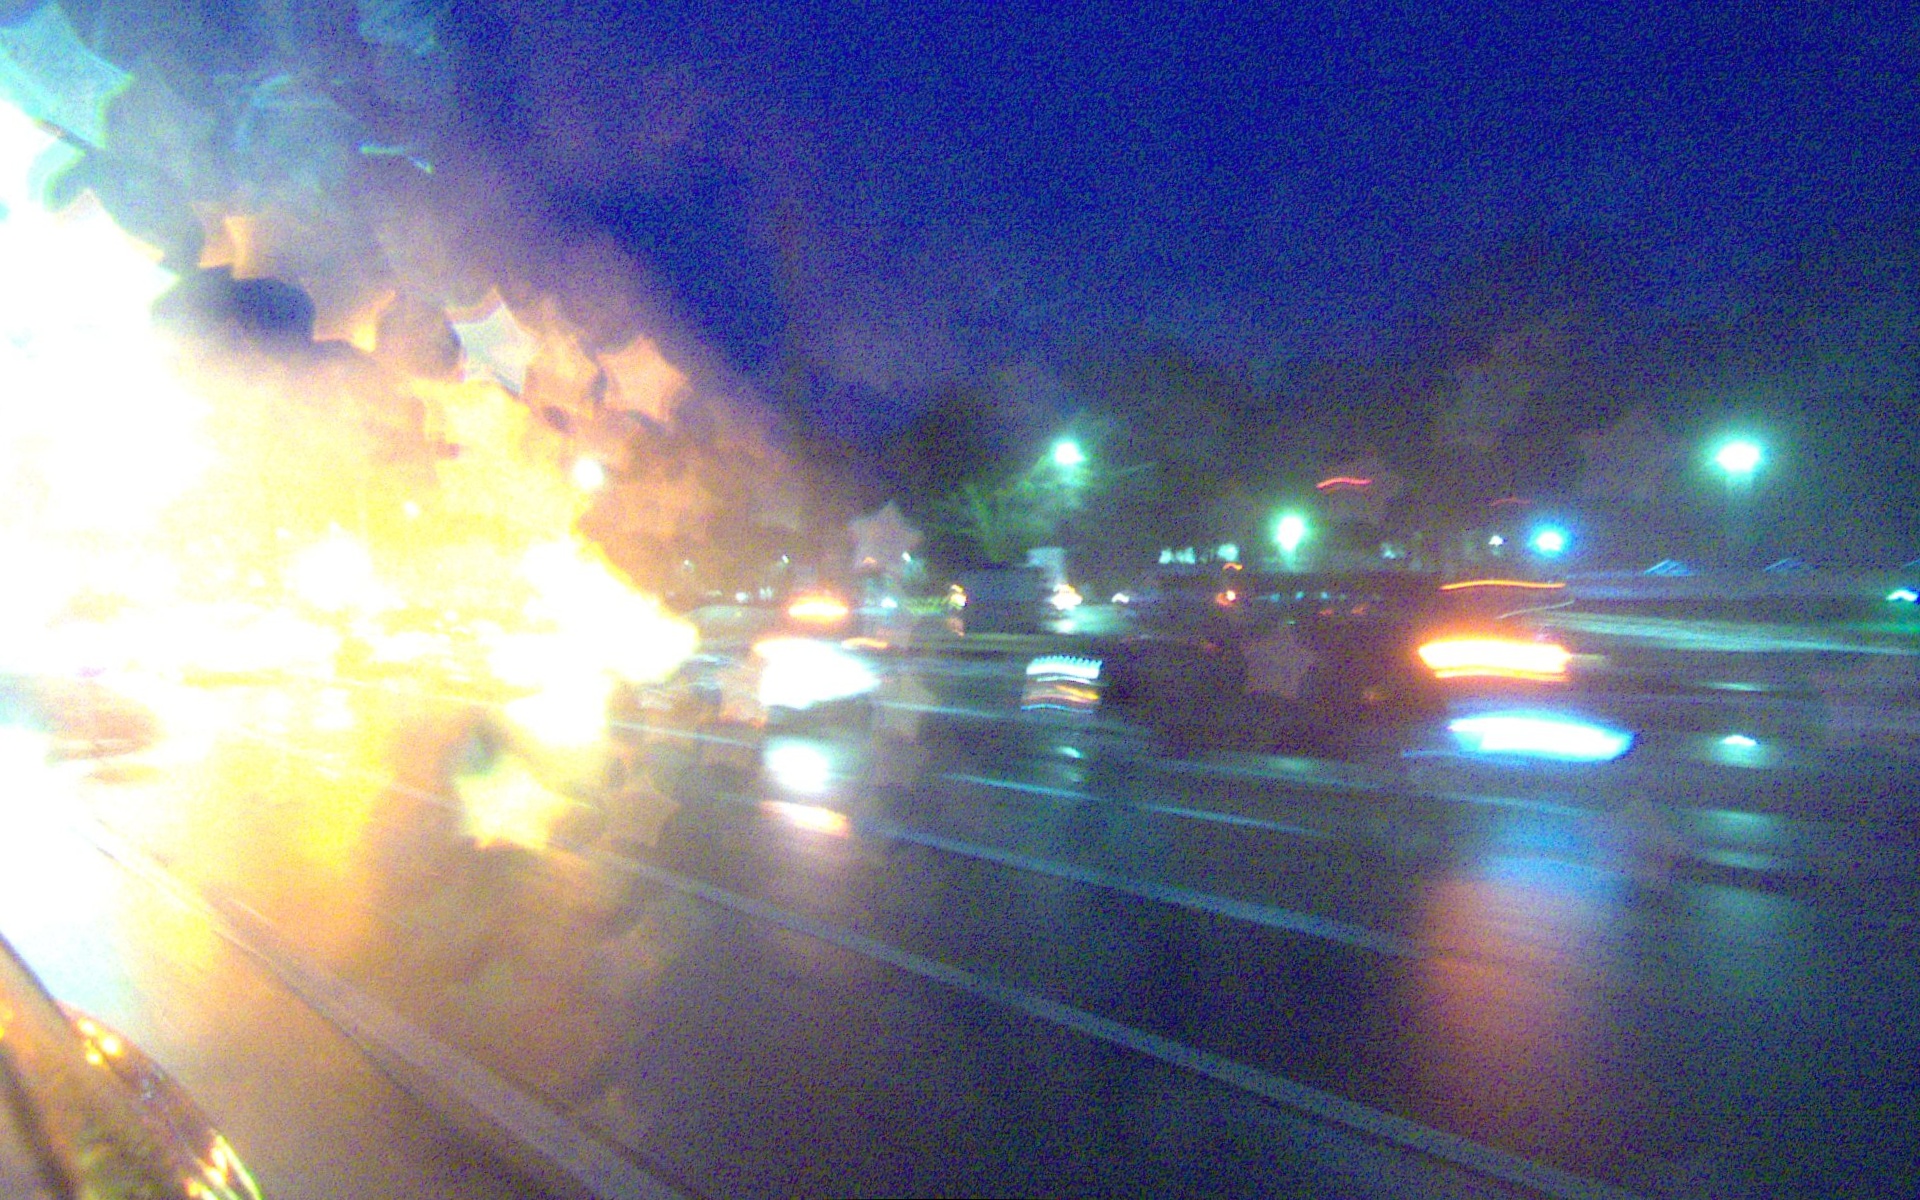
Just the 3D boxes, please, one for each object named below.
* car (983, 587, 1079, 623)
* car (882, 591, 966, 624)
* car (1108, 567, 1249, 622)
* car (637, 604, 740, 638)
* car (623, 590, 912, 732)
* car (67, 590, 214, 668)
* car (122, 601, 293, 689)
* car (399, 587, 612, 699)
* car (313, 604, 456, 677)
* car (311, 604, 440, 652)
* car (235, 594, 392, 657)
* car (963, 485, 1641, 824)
[{"bbox_3d":[3.533,0.263,50.327,4.422,1.706,1.836,-1,0,25],"label":"car"},{"bbox_3d":[-1.848,0.366,52.620,3.960,1.603,1.992,-1,0,13],"label":"car"},{"bbox_3d":[9.754,-0.199,45.638,6.022,2.325,1.972,-1,0,44],"label":"car"},{"bbox_3d":[-12.550,0.925,46.762,4.426,1.375,1.672,-2,1,-22],"label":"car"},{"bbox_3d":[-2.598,0.691,13.218,3.689,1.540,1.944,-1,0,45],"label":"car"},{"bbox_3d":[-20.179,0.638,24.849,5.010,1.711,1.973,0,1,41],"label":"car"},{"bbox_3d":[-15.618,0.837,20.923,4.465,1.582,1.936,0,1,41],"label":"car"},{"bbox_3d":[-8.293,0.694,18.257,4.500,1.759,1.971,-1,0,44],"label":"car"},{"bbox_3d":[-13.150,0.855,23.067,3.601,1.463,1.803,0,1,43],"label":"car"},{"bbox_3d":[-23.926,1.116,41.617,4.446,1.858,2.006,-1,-1,-27],"label":"car"},{"bbox_3d":[-17.944,0.665,28.000,5.157,1.568,2.334,-1,0,42],"label":"car"},{"bbox_3d":[2.585,0.336,8.565,4.996,2.029,2.130,-1,0,43],"label":"car"}]
